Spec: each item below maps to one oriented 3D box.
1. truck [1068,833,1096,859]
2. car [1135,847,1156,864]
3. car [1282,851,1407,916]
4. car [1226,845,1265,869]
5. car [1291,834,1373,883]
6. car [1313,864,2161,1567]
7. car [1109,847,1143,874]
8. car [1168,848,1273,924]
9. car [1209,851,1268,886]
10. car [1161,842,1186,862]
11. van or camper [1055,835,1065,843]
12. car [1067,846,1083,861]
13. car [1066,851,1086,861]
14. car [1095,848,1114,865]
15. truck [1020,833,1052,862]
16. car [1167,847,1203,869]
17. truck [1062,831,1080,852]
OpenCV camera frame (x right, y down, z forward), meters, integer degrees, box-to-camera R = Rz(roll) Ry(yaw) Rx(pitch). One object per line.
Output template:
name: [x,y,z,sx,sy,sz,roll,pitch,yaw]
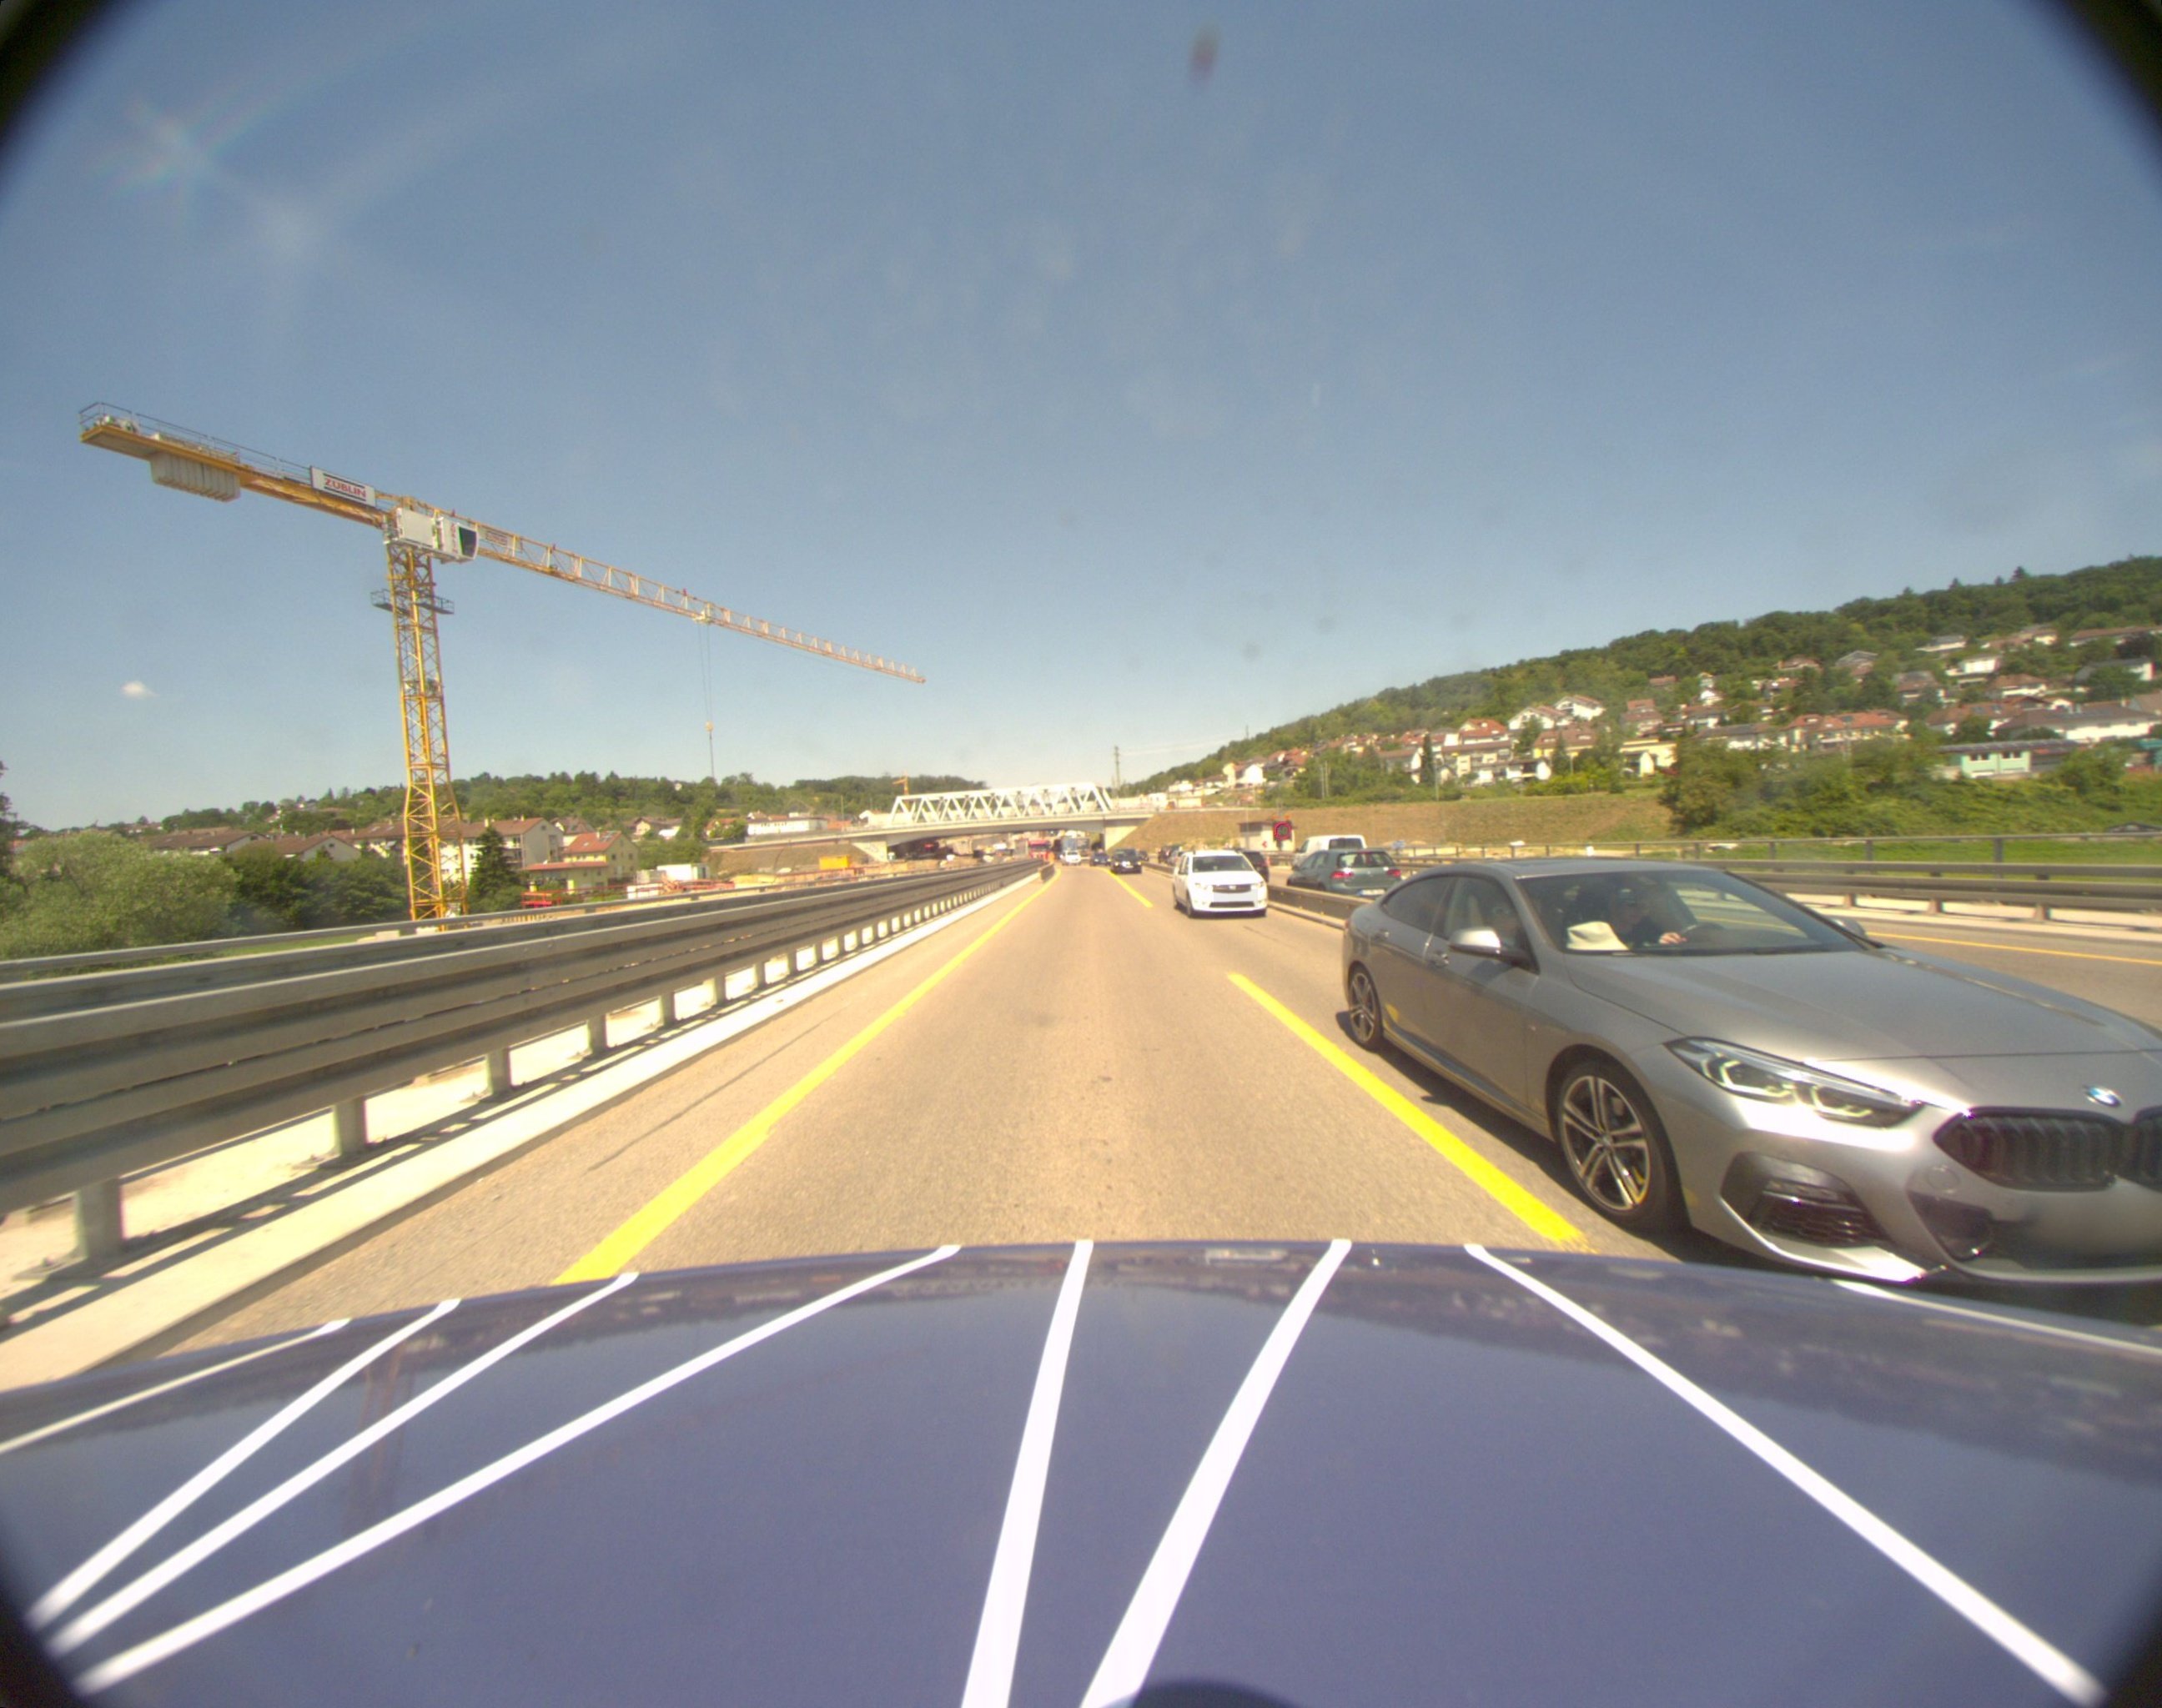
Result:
truck: [0.092,-1.446,134.450,3.269,4.112,17.322,-3,1,-5]
car: [6.483,0.149,76.938,1.745,1.573,4.085,-2,0,0]
car: [6.184,0.626,18.314,1.635,1.400,4.103,0,0,1]
car: [11.267,0.163,52.292,1.818,1.560,4.000,-1,0,0]
car: [10.280,0.162,31.487,1.864,1.856,4.628,-1,0,0]
car: [2.895,0.836,4.053,1.856,1.443,4.742,-1,0,0]
car: [2.966,0.439,50.665,1.862,1.682,4.097,-2,0,-2]
car: [3.224,0.660,18.466,1.823,1.521,4.706,-2,1,2]
car: [6.542,0.573,31.928,1.683,1.384,4.155,0,0,1]
car: [9.714,-0.167,80.298,1.928,1.922,4.938,-4,0,0]
van or camper: [-5.802,-3.978,205.962,2.332,2.068,5.424,-2,1,-4]
car: [-0.763,-0.063,99.057,1.791,1.871,4.000,-4,0,2]
car: [-0.784,0.318,116.004,2.018,1.516,4.188,-1,0,-14]
car: [2.381,0.231,78.281,1.791,1.578,4.000,-4,0,1]
truck: [-6.357,-0.908,105.595,2.706,3.705,8.496,-2,1,-15]
car: [6.985,0.278,51.382,1.830,1.410,4.657,0,0,1]
truck: [-2.092,-2.634,168.885,3.172,4.531,12.088,0,0,3]
